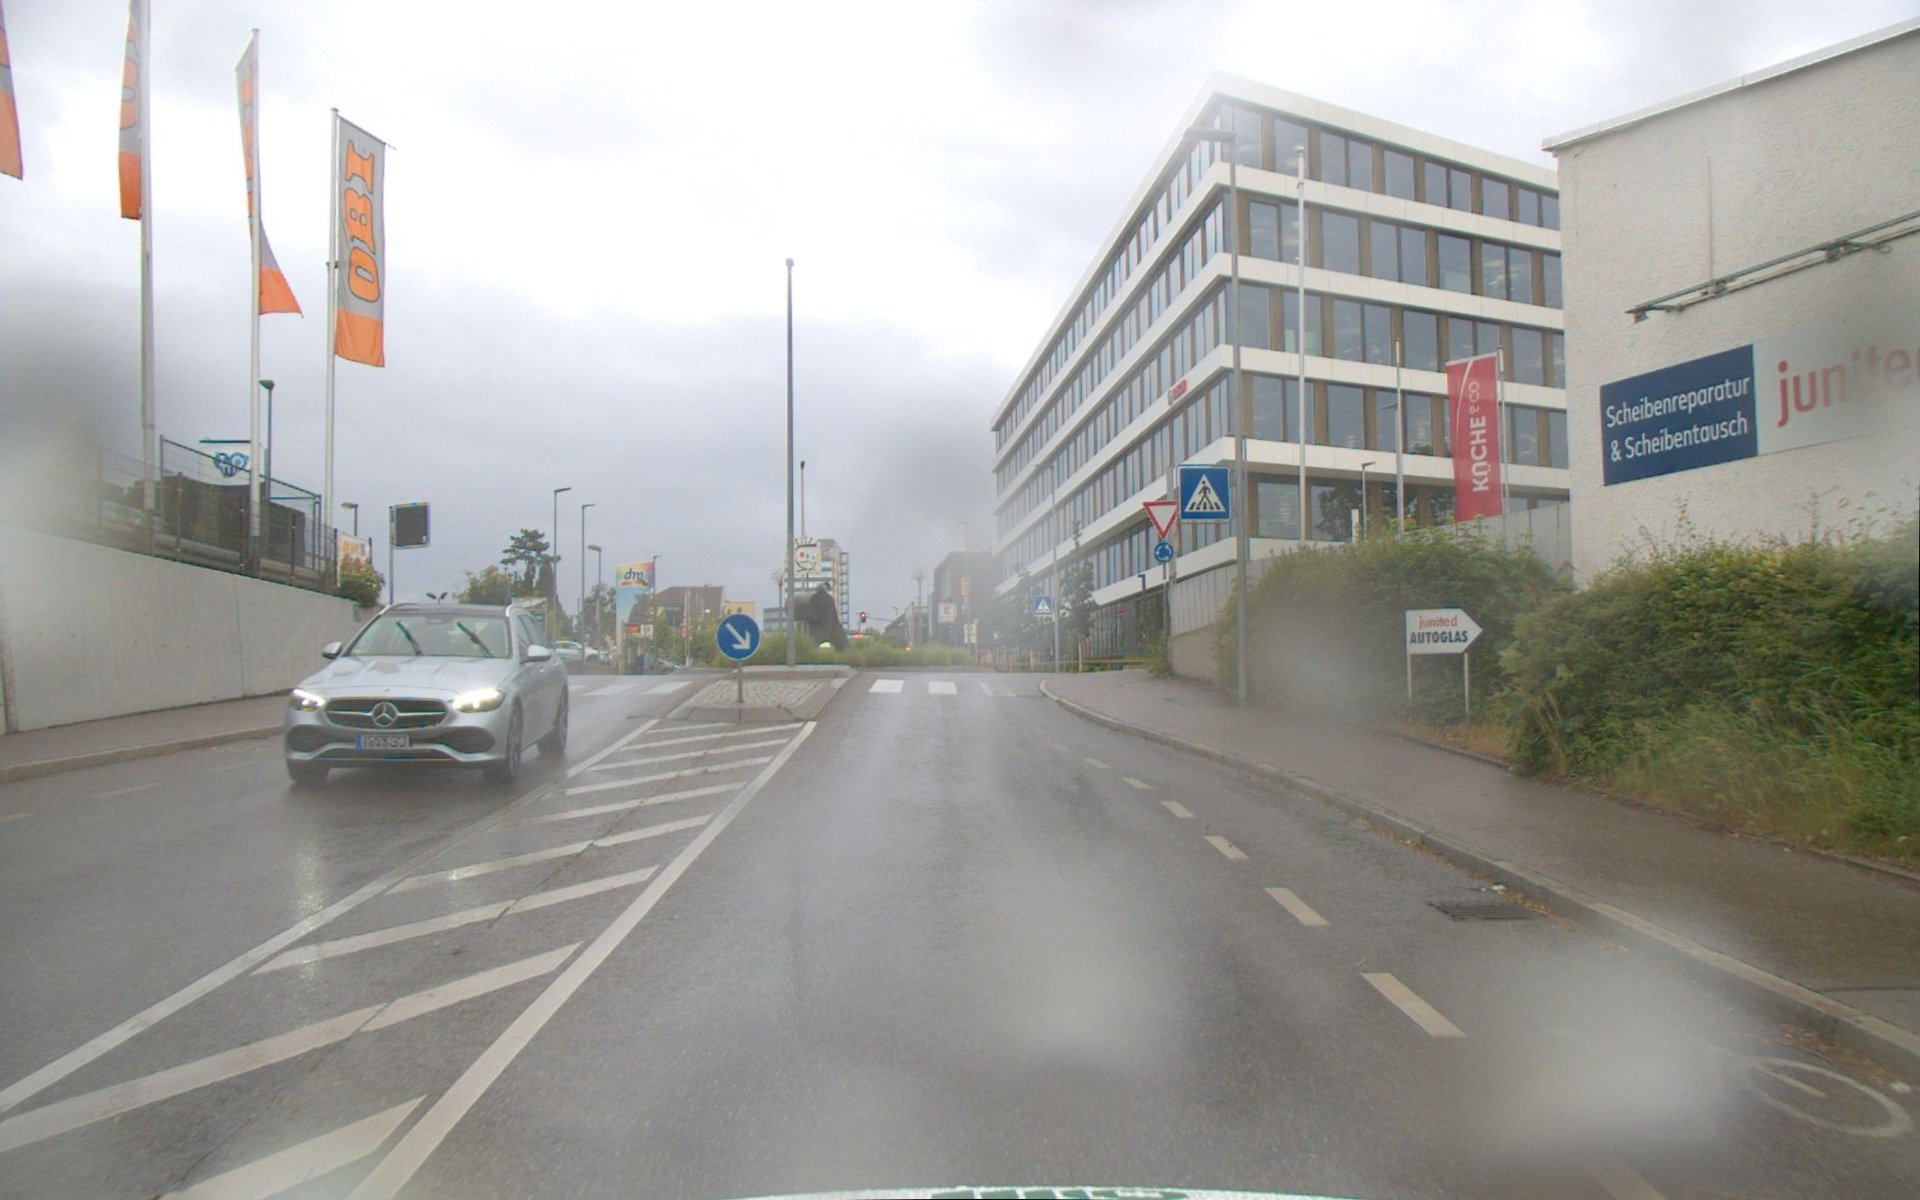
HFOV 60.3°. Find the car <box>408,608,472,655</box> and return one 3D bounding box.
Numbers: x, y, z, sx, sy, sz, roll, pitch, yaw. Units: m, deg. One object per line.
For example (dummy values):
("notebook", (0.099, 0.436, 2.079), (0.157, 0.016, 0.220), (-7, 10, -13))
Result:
("car", (-24.554, 1.456, 78.278), (1.955, 2.049, 4.993), (-1, 0, -6))

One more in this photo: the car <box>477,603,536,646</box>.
("car", (-22.411, 1.175, 81.894), (1.955, 2.049, 4.994), (-1, 0, -5))

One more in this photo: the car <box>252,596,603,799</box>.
("car", (-4.556, 0.729, 14.967), (1.962, 1.451, 4.776), (-1, 1, -5))

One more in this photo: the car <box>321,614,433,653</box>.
("car", (-21.343, 1.236, 60.629), (3.462, 1.308, 1.997), (0, -3, -6))

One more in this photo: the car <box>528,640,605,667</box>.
("car", (-21.960, 2.995, 92.294), (3.964, 1.445, 1.757), (0, -3, -21))
